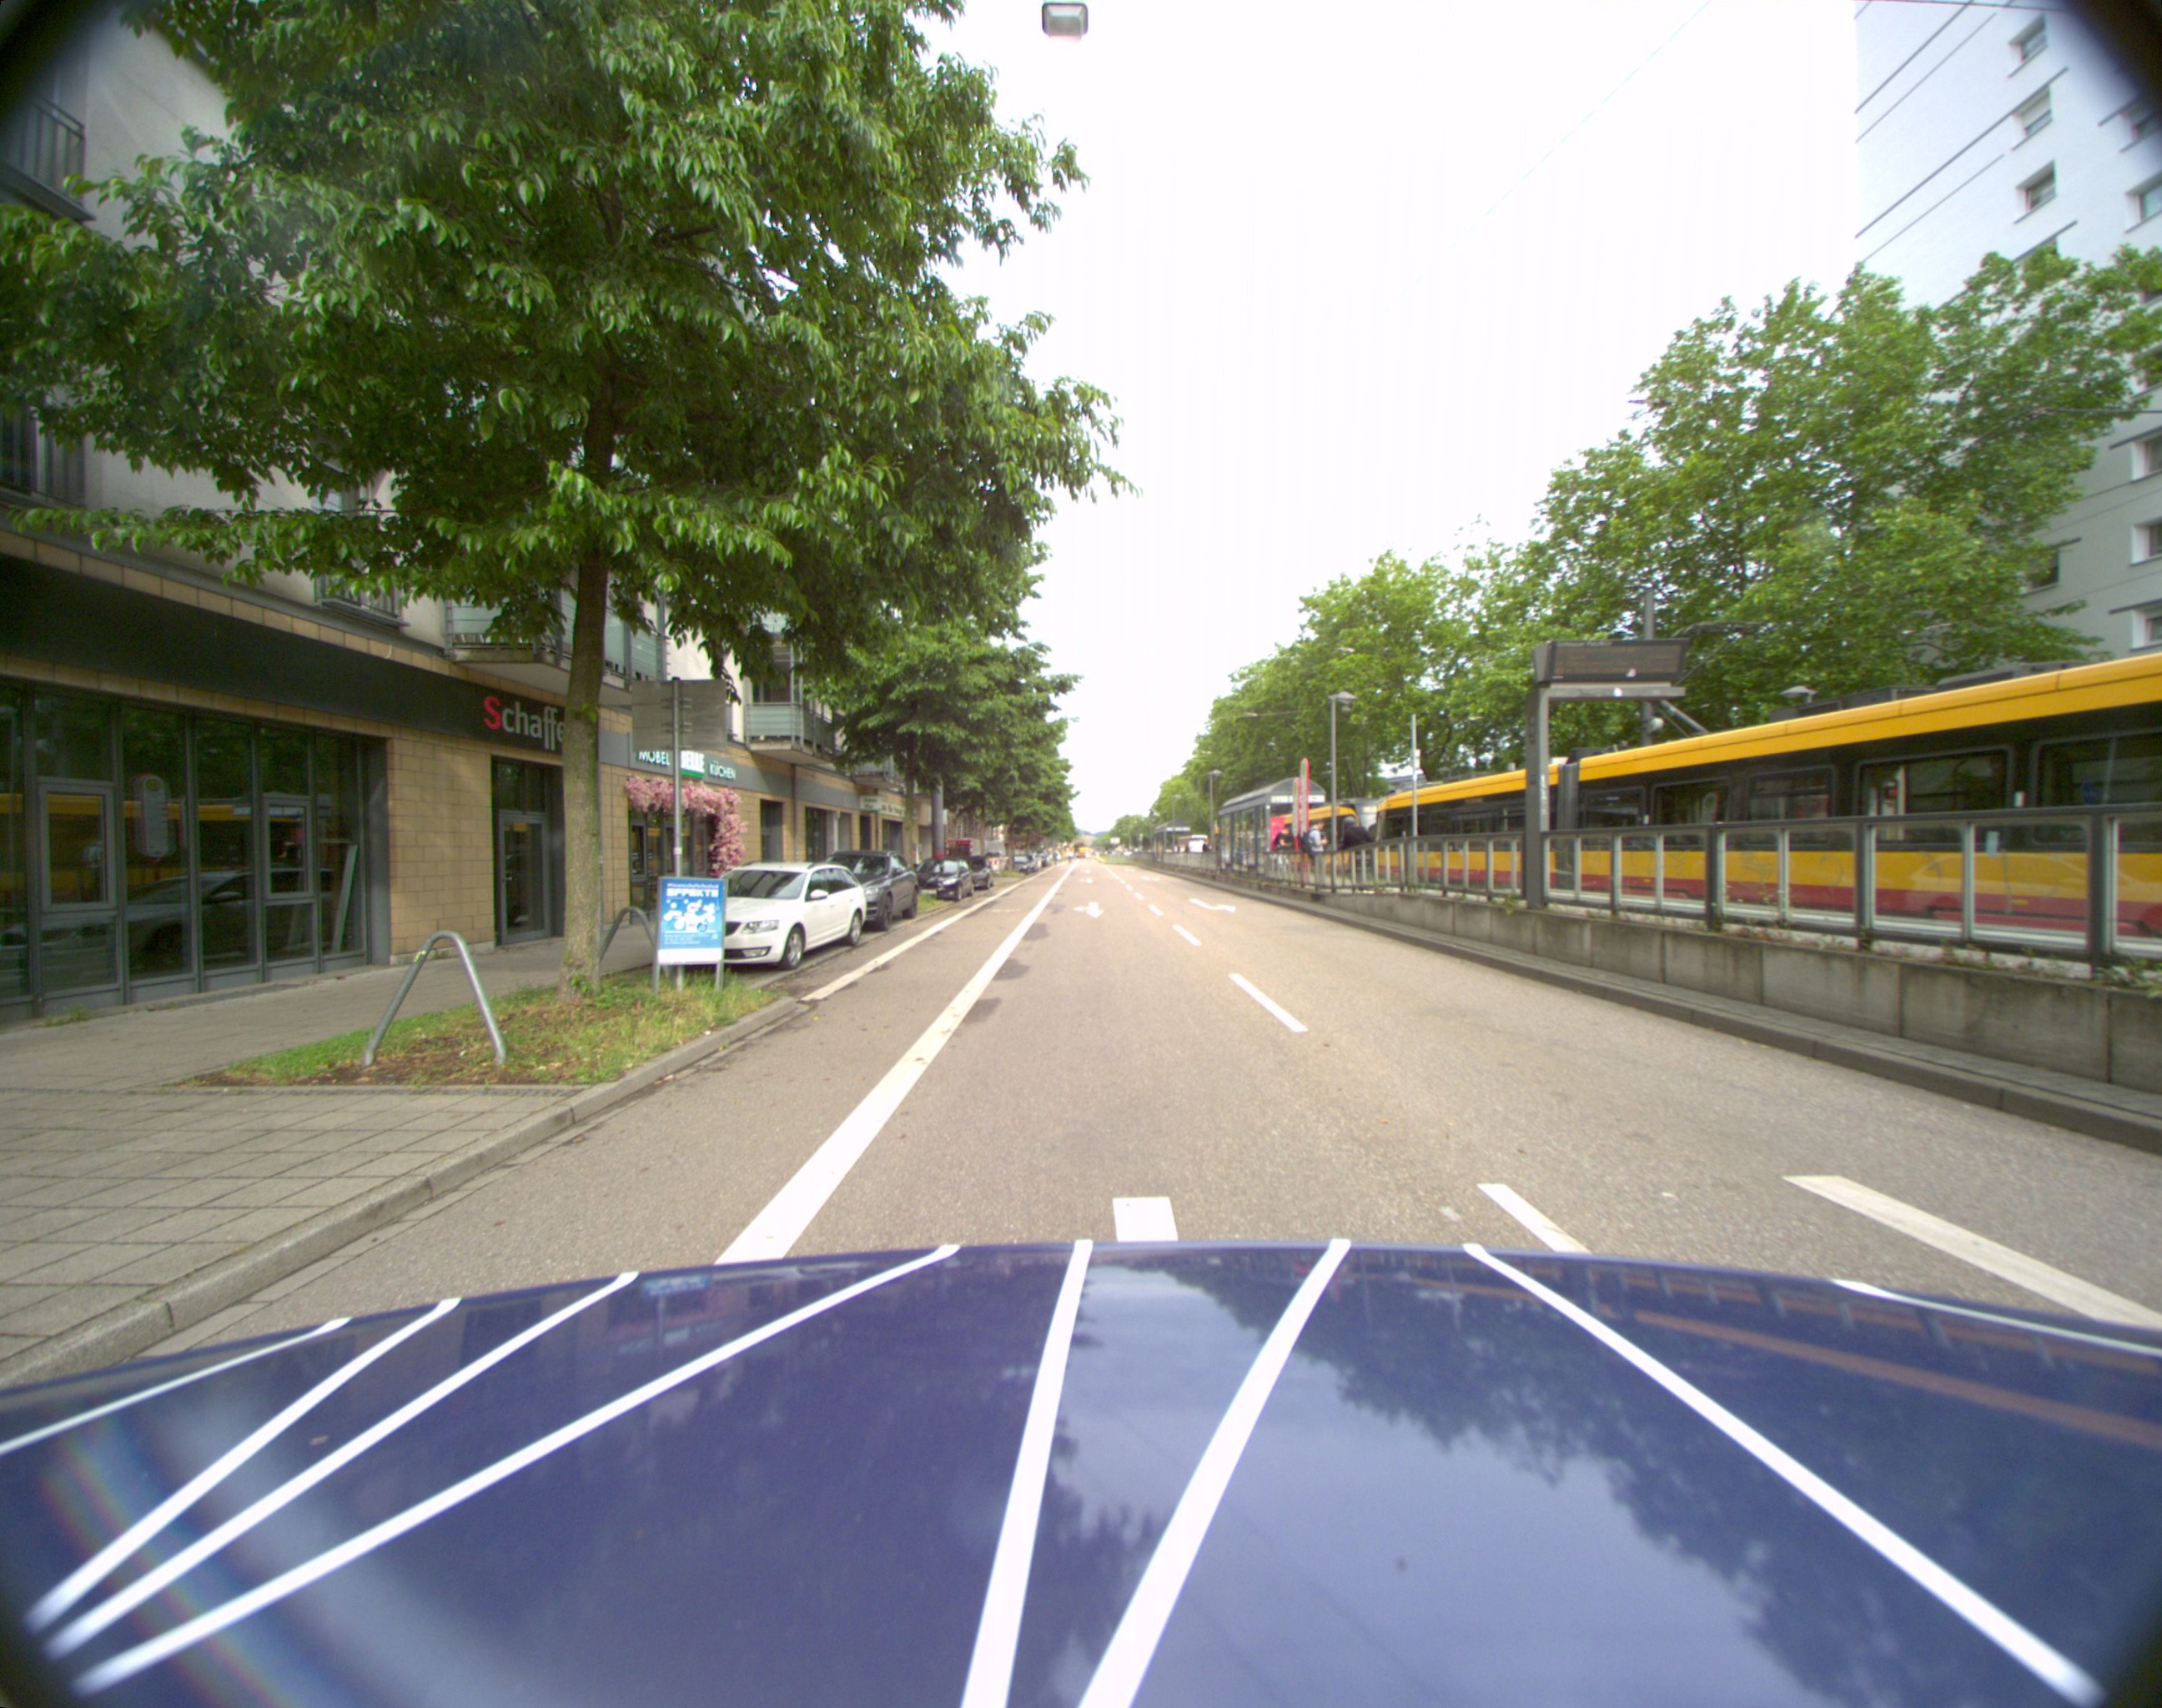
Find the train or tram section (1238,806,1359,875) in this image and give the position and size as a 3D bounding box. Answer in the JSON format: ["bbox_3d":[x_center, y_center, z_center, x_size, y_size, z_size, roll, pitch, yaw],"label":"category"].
[{"bbox_3d":[12.985,-0.805,47.483,3.067,3.511,15.769,-2,1,1],"label":"train or tram section"}]

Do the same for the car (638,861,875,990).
[{"bbox_3d":[-4.720,0.928,11.842,1.680,1.490,4.390,2,1,2],"label":"car"}]

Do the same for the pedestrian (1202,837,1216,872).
[{"bbox_3d":[5.966,0.016,35.525,0.513,1.623,0.730,-2,1,2],"label":"pedestrian"}]

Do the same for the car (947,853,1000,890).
[{"bbox_3d":[-4.718,0.728,33.884,1.802,1.447,4.387,2,1,-1],"label":"car"}]

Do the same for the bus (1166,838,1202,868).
[{"bbox_3d":[7.319,-0.064,54.513,1.998,2.002,3.999,-2,1,1],"label":"bus"}]

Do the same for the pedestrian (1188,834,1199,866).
[{"bbox_3d":[5.941,-0.210,40.198,0.480,1.623,0.392,-2,1,2],"label":"pedestrian"}]

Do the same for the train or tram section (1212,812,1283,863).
[{"bbox_3d":[13.179,-1.283,61.633,3.100,3.541,12.537,-2,1,1],"label":"train or tram section"}]

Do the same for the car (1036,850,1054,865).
[{"bbox_3d":[-4.128,0.361,86.956,1.837,1.686,3.762,1,1,0],"label":"car"}]

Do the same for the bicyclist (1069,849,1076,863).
[{"bbox_3d":[-1.063,0.214,98.066,0.751,1.777,0.838,-2,1,1],"label":"bicyclist"}]

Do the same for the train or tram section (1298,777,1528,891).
[{"bbox_3d":[12.811,-0.732,31.959,3.067,3.511,15.292,-2,1,1],"label":"train or tram section"}]

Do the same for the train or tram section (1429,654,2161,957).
[{"bbox_3d":[12.618,-0.692,16.647,3.067,3.511,15.292,-2,1,1],"label":"train or tram section"}]

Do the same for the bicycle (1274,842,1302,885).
[{"bbox_3d":[6.010,0.262,22.064,0.420,1.215,1.289,-2,1,0],"label":"bicycle"}]

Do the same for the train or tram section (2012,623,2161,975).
[{"bbox_3d":[12.428,-0.514,1.010,3.067,3.568,15.847,-2,1,1],"label":"train or tram section"}]

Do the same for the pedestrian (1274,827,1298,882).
[{"bbox_3d":[6.215,0.017,23.061,0.532,1.623,0.471,-2,1,-2],"label":"pedestrian"}]

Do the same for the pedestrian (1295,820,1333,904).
[{"bbox_3d":[5.703,0.195,18.569,0.753,2.002,0.819,-2,1,24],"label":"pedestrian"}]

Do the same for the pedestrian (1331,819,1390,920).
[{"bbox_3d":[5.763,0.299,15.672,0.756,2.002,0.816,-3,2,-36],"label":"pedestrian"}]

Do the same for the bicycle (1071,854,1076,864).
[{"bbox_3d":[-0.962,0.637,98.012,0.613,1.116,2.050,-2,1,1],"label":"bicycle"}]

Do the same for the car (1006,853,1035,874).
[{"bbox_3d":[-4.359,0.653,55.358,1.755,1.452,4.279,1,1,0],"label":"car"}]

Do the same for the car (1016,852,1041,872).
[{"bbox_3d":[-4.203,0.610,61.512,1.755,1.452,4.279,1,1,0],"label":"car"}]

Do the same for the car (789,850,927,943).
[{"bbox_3d":[-4.754,0.798,16.929,1.716,1.707,4.710,2,1,-1],"label":"car"}]

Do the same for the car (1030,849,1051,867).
[{"bbox_3d":[-4.126,0.351,77.663,1.837,1.720,4.279,1,1,0],"label":"car"}]

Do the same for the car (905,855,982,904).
[{"bbox_3d":[-4.631,0.815,26.211,1.680,1.433,4.407,2,1,2],"label":"car"}]
